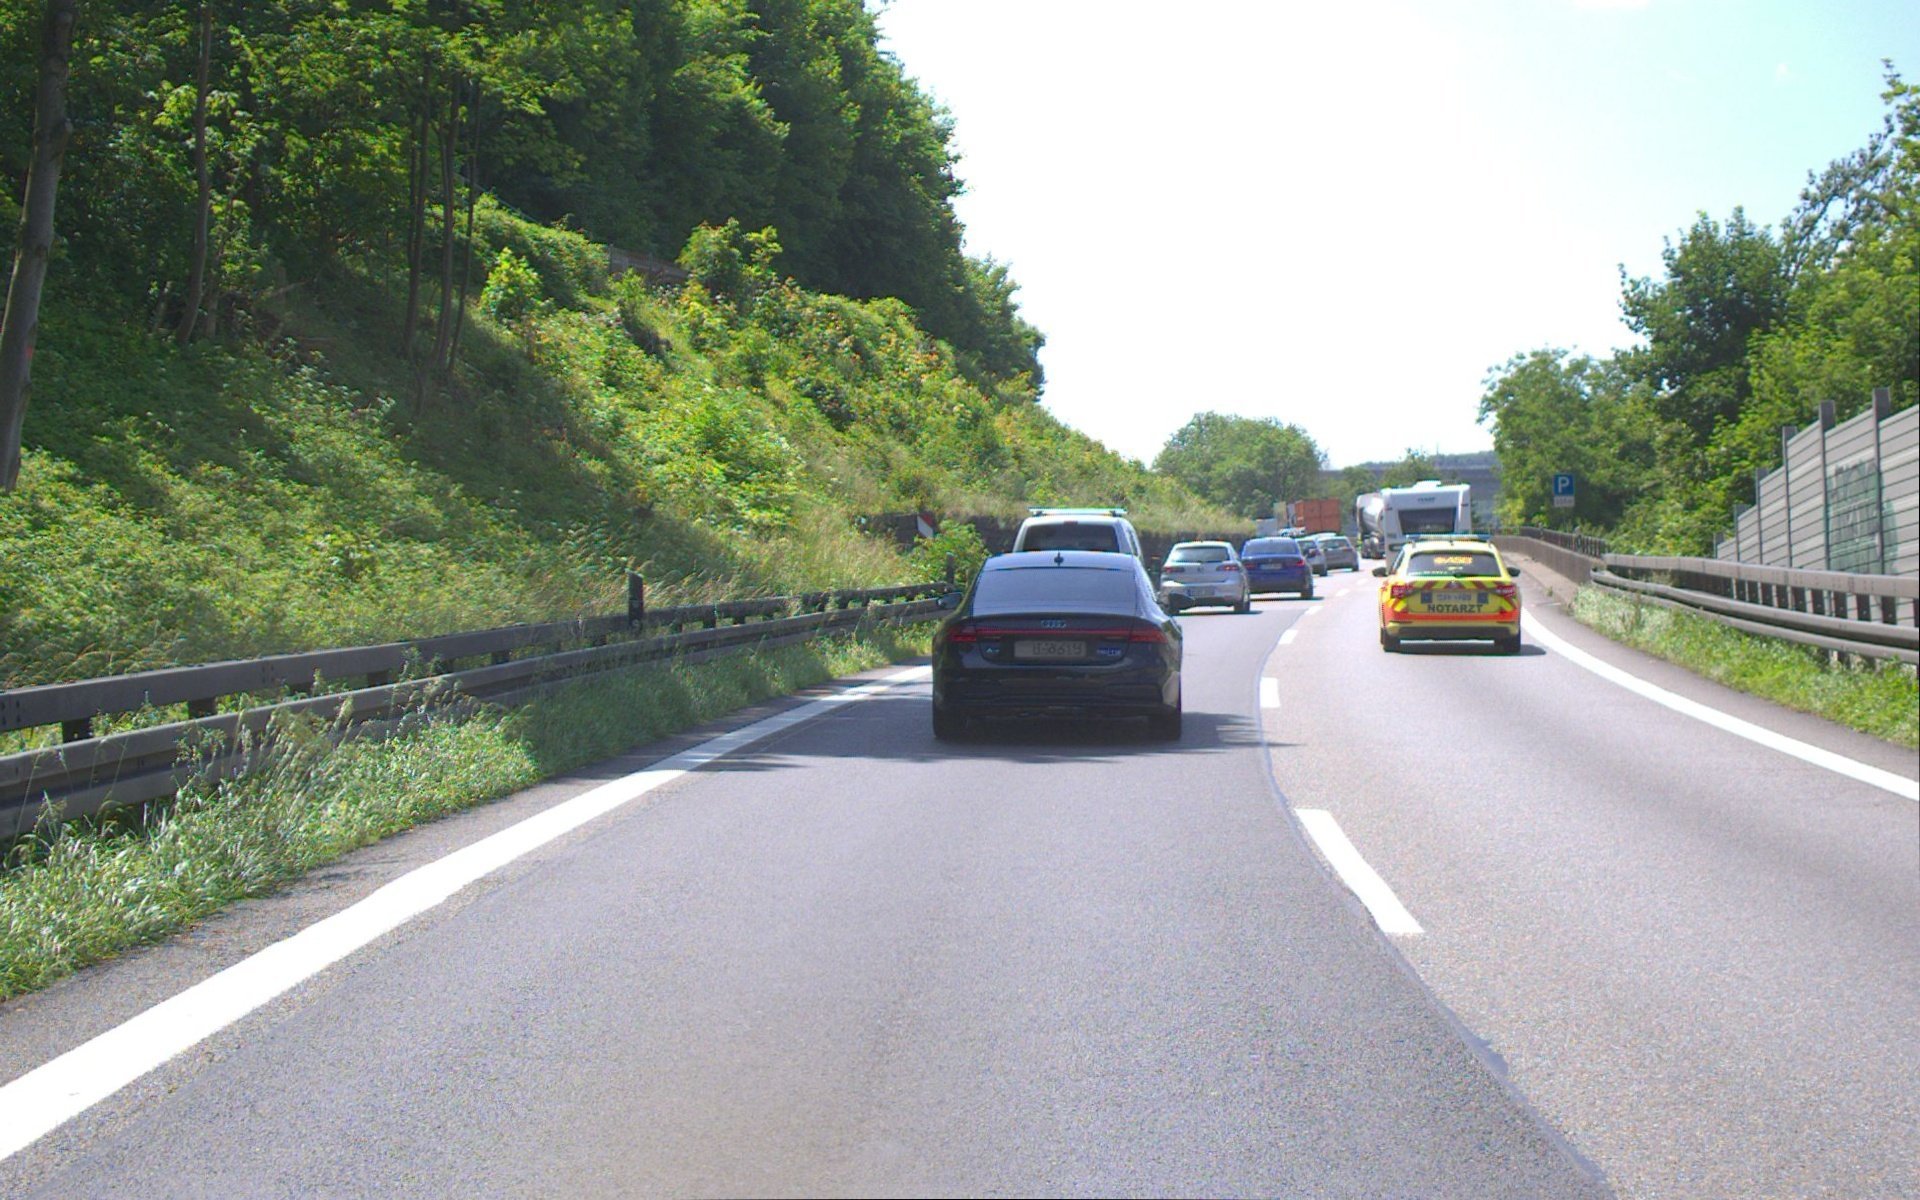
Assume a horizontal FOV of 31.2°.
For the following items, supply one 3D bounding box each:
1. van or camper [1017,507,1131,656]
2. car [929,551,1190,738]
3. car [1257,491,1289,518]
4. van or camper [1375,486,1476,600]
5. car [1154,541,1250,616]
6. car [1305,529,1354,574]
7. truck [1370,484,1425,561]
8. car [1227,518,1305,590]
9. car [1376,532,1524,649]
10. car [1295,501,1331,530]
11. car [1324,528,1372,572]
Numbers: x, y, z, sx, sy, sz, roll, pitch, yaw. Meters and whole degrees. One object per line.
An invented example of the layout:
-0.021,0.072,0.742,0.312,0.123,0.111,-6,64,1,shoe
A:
1.469,-0.230,44.220,1.392,1.809,4.000,0,0,2,van or camper
0.703,0.318,26.928,1.837,1.345,4.000,0,0,-1,car
23.800,-7.228,261.420,1.993,2.007,4.000,0,1,-1,car
12.308,-1.463,91.251,2.456,2.908,6.124,0,0,6,van or camper
4.839,-0.420,68.358,1.747,1.426,3.999,0,0,6,car
13.729,-1.818,127.710,1.681,1.628,3.518,0,1,8,car
23.430,-4.144,184.357,2.733,4.082,7.478,0,1,5,truck
7.230,-1.076,81.214,1.773,1.631,3.999,1,0,5,car
6.513,-0.126,45.999,1.863,1.483,3.999,0,0,7,car
24.200,-5.782,235.762,1.993,2.007,4.000,0,1,-1,car
15.665,-2.008,138.778,1.842,1.711,3.999,0,0,7,car
